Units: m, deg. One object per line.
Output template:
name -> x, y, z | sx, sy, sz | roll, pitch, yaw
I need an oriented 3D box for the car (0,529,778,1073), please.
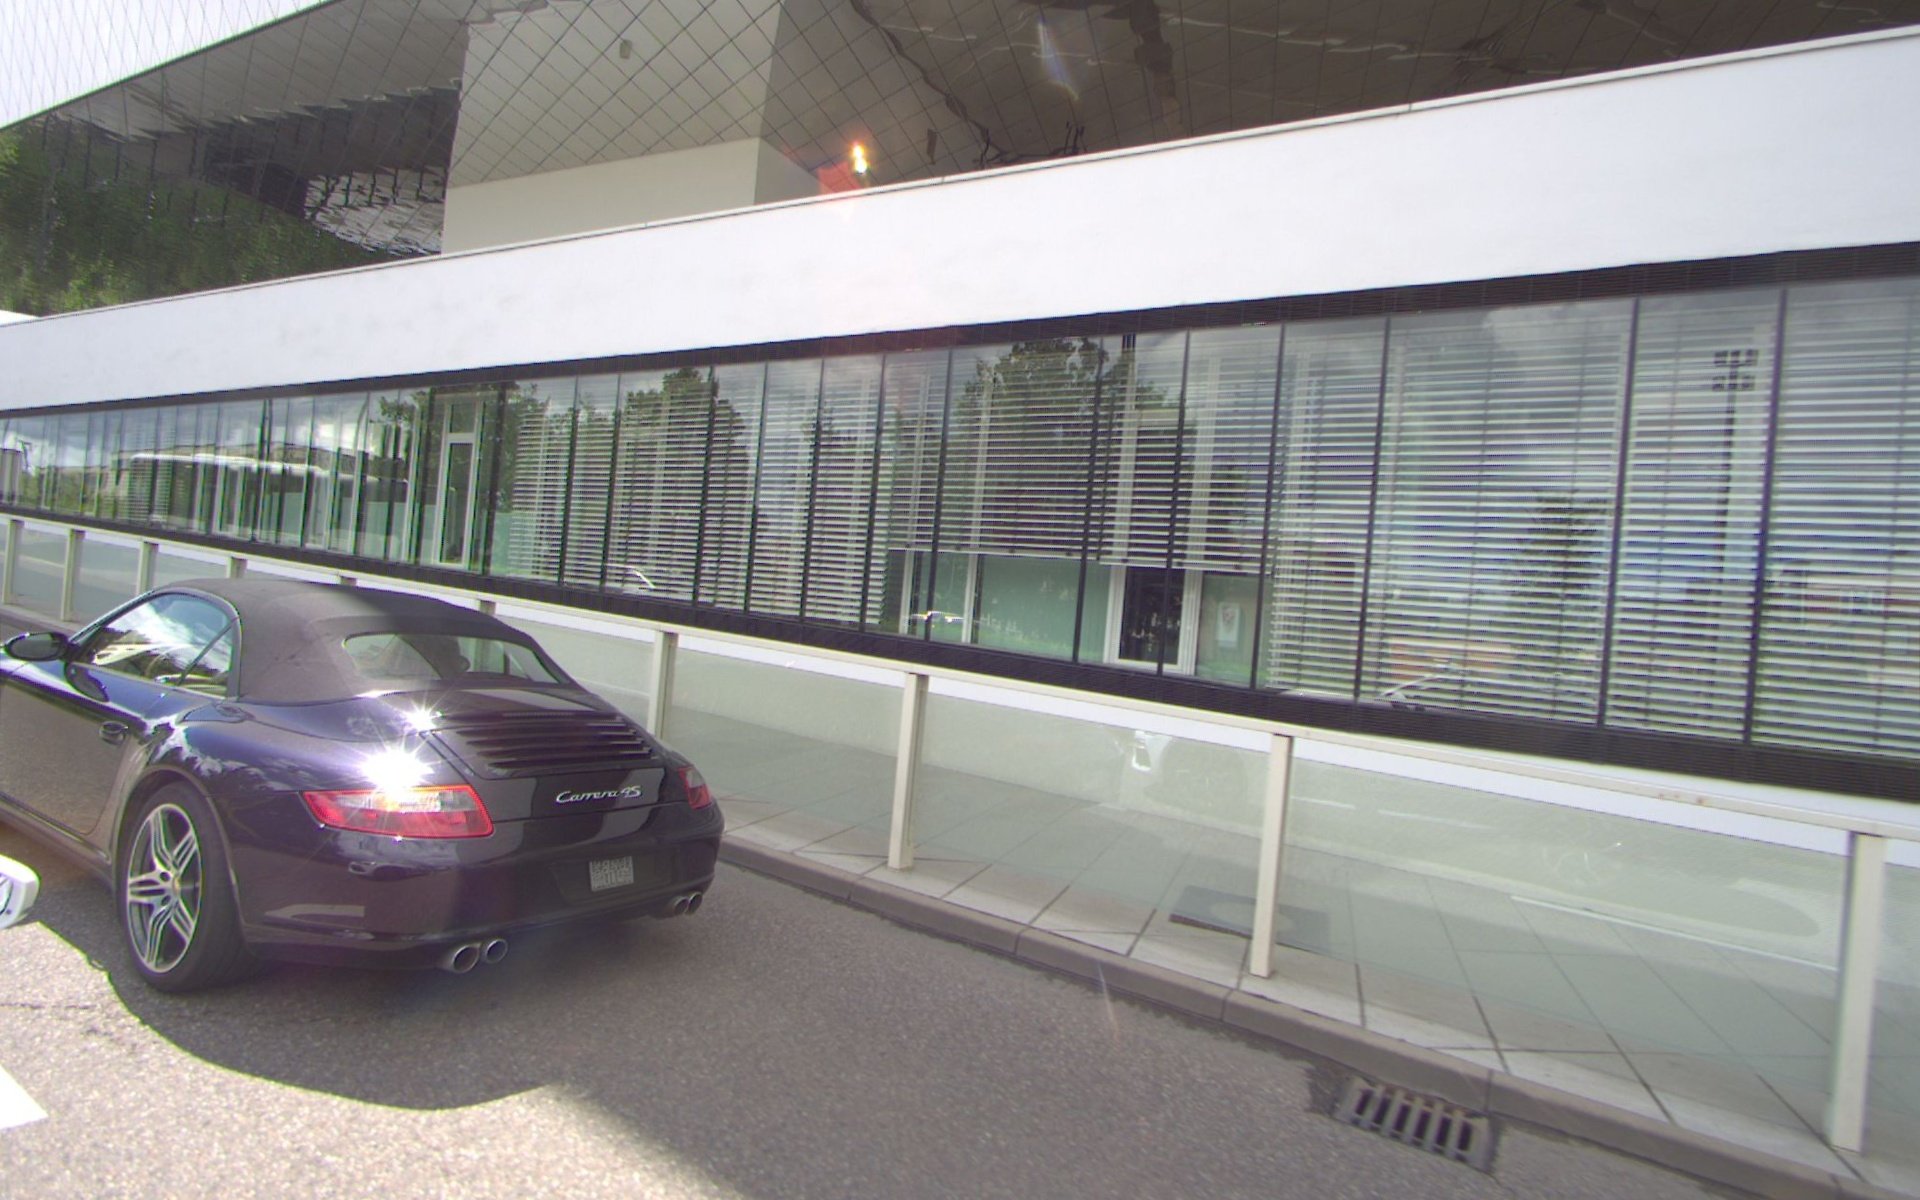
car -> -2.969, 0.514, 4.486 | 4.020, 1.290, 1.723 | 6, -1, 31
